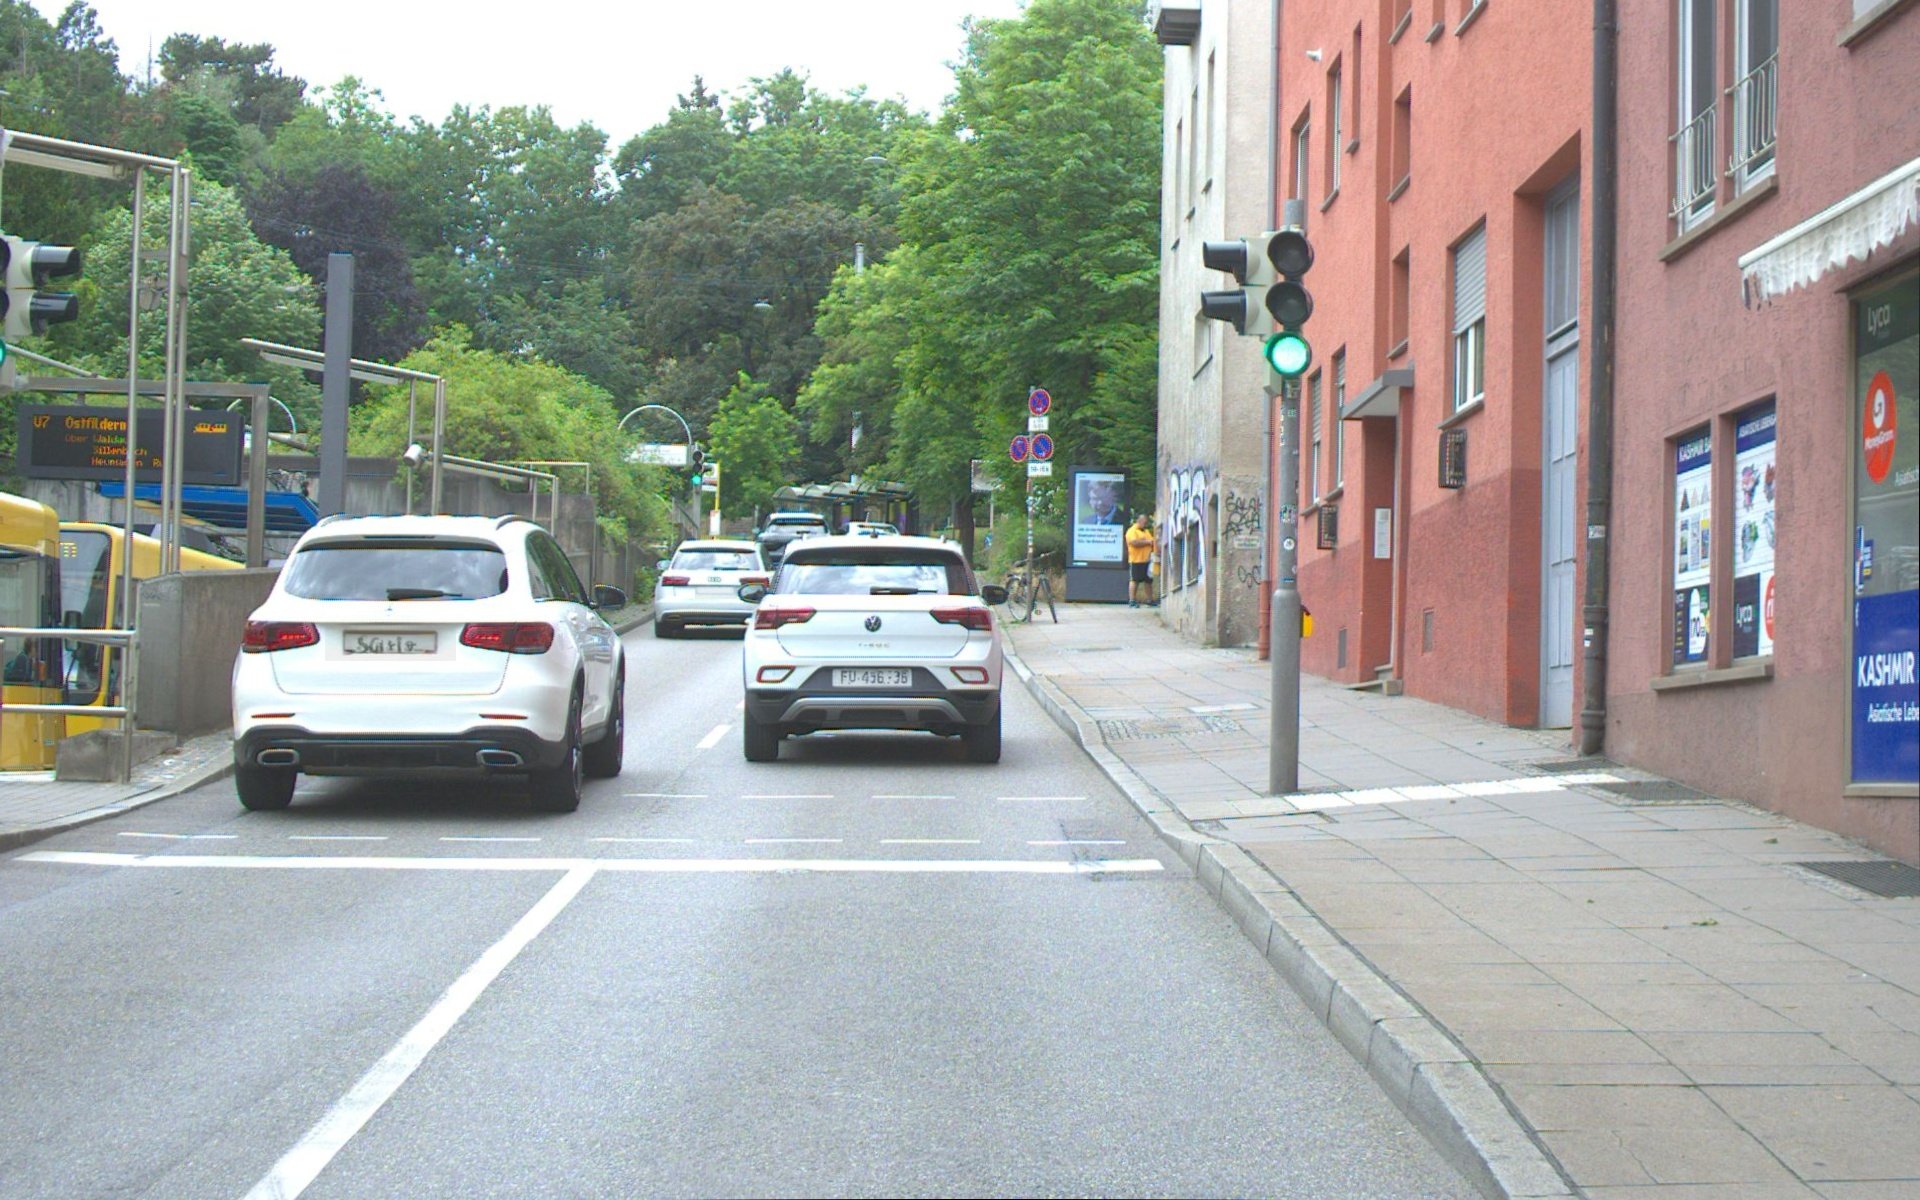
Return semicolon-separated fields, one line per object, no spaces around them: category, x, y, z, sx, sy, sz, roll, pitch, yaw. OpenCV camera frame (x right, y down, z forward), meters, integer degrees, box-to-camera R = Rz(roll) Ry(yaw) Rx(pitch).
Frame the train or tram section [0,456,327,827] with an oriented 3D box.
train or tram section;-9.736;0.425;38.997;2.949;3.497;12.987;1;0;-1

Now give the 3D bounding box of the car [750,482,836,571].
car;-3.725;-1.650;77.224;1.749;1.875;4.000;3;1;-1

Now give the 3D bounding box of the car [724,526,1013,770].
car;-0.587;0.278;24.599;1.865;1.550;3.895;2;1;1

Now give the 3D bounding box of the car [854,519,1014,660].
car;-0.321;-0.166;42.826;1.861;1.626;3.959;1;1;0

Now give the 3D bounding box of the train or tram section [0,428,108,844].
train or tram section;-9.449;0.237;26.421;2.949;3.472;12.218;1;-1;-1

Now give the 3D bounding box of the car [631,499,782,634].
car;-3.811;-0.535;52.236;1.993;1.875;4.000;3;1;-1

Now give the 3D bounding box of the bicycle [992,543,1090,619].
bicycle;1.259;-0.315;54.083;0.638;1.139;2.066;-3;2;-26

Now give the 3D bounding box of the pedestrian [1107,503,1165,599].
pedestrian;3.152;-0.873;61.549;0.832;1.706;0.822;0;1;-14

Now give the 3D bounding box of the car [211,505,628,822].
car;-3.041;0.290;20.199;1.877;1.646;4.342;-1;1;-2
